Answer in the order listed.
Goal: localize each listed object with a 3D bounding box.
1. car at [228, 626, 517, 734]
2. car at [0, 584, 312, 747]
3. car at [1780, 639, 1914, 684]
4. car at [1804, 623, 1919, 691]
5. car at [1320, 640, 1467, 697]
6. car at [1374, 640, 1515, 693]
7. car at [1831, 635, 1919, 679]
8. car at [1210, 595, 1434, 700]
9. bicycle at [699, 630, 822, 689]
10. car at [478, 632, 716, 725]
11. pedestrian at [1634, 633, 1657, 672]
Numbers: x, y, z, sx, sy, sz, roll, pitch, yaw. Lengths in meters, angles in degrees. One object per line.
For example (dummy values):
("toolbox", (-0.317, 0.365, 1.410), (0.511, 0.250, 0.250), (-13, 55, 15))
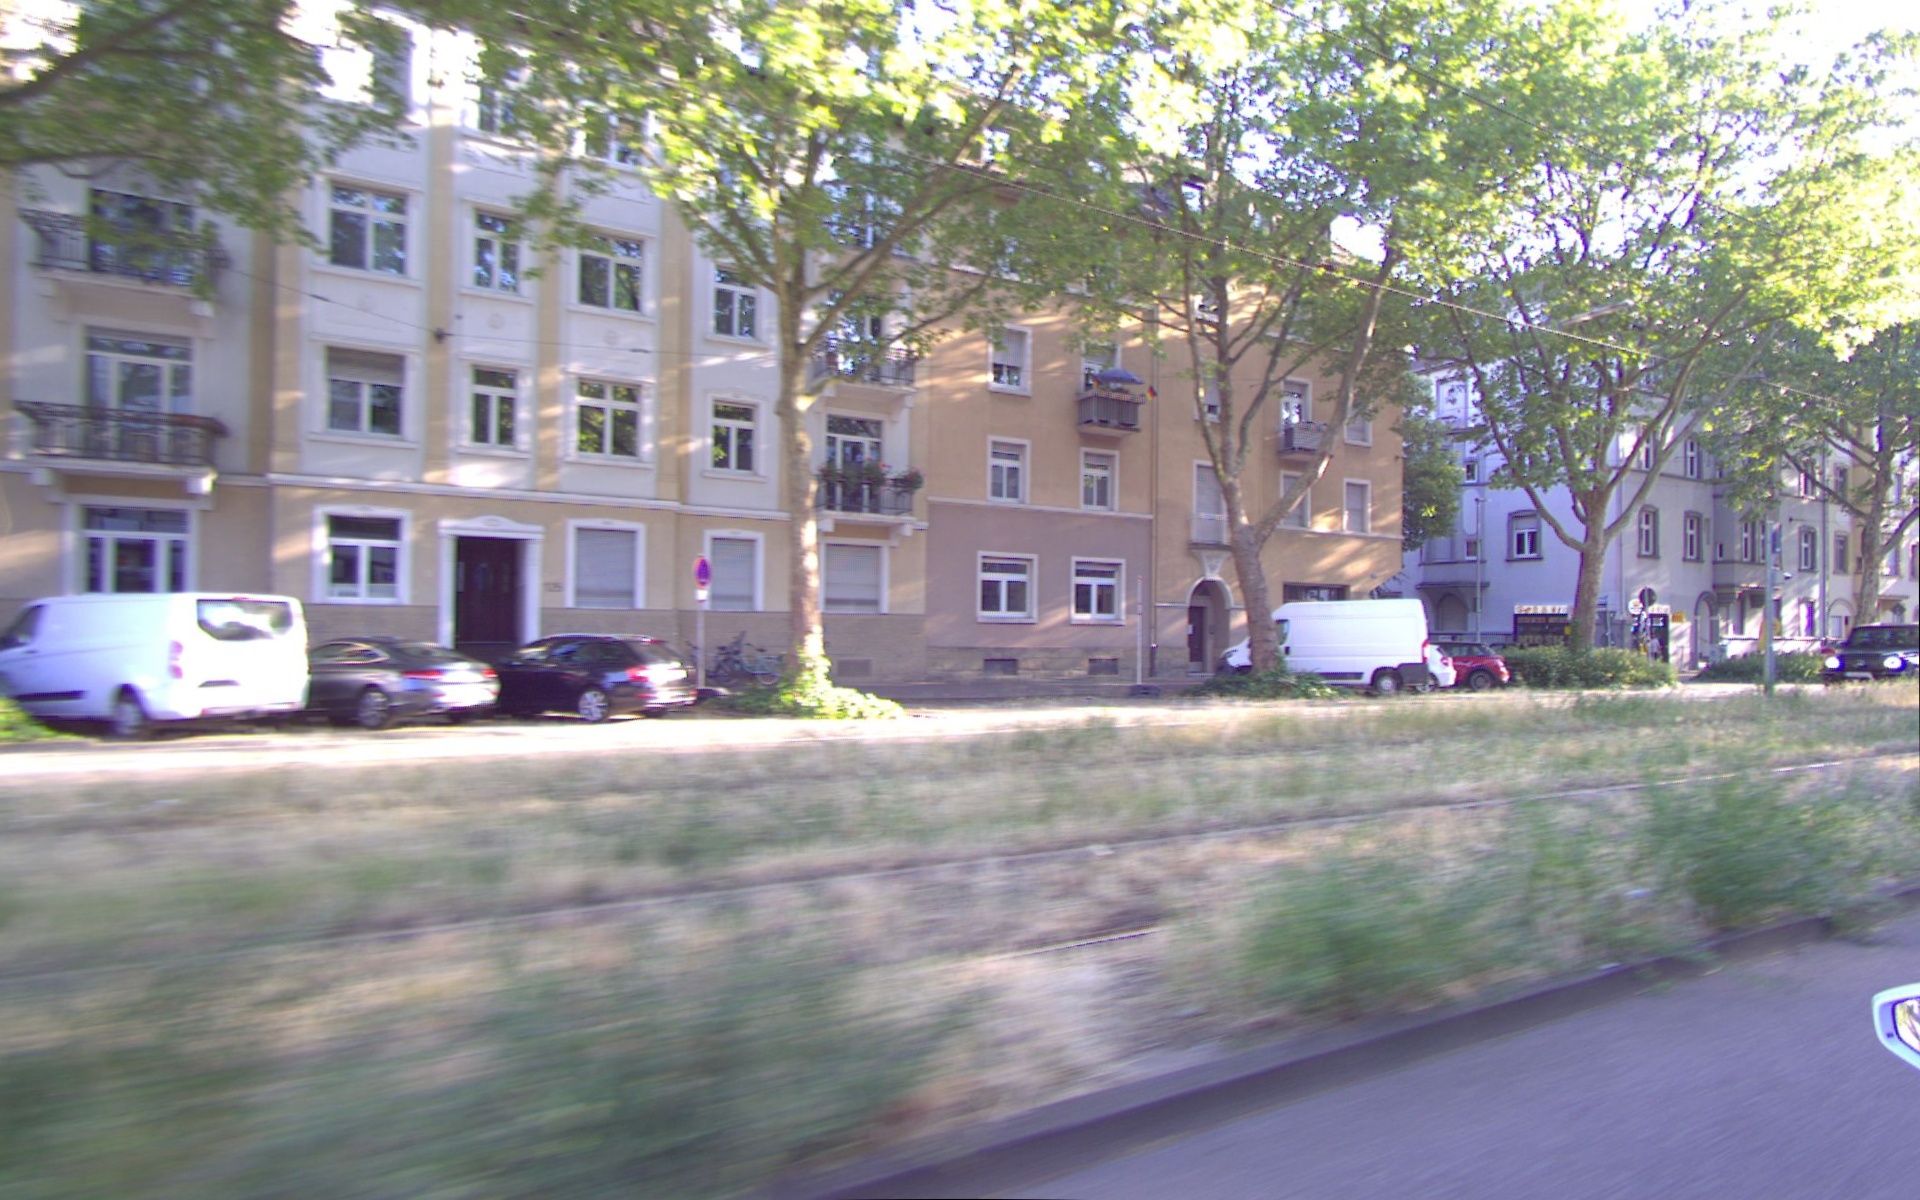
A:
("car", (-9.370, 1.204, 16.064), (4.094, 1.511, 1.722), (0, -1, 19))
("car", (-12.123, 0.851, 14.594), (5.143, 2.093, 1.722), (0, -1, 19))
("car", (37.816, 2.616, 42.940), (3.923, 1.746, 1.784), (1, -2, 23))
("car", (25.429, 1.543, 27.199), (4.704, 1.716, 1.867), (2, -2, -20))
("car", (12.054, 1.877, 28.156), (3.636, 1.418, 1.737), (0, -1, 19))
("car", (14.359, 1.936, 29.769), (3.644, 1.485, 1.733), (-1, -2, 30))
("car", (42.911, 2.613, 46.142), (3.924, 1.906, 1.999), (1, -2, 25))
("car", (9.556, 1.205, 26.836), (5.399, 2.562, 2.127), (0, -1, 19))
("bicycle", (-4.968, 1.474, 25.146), (2.924, 1.409, 0.738), (2, -1, -29))
("car", (-6.362, 1.321, 17.675), (3.655, 1.441, 1.722), (0, -1, 19))
("pedestrian", (31.455, 2.391, 46.074), (0.663, 1.782, 0.625), (1, -2, -24))
